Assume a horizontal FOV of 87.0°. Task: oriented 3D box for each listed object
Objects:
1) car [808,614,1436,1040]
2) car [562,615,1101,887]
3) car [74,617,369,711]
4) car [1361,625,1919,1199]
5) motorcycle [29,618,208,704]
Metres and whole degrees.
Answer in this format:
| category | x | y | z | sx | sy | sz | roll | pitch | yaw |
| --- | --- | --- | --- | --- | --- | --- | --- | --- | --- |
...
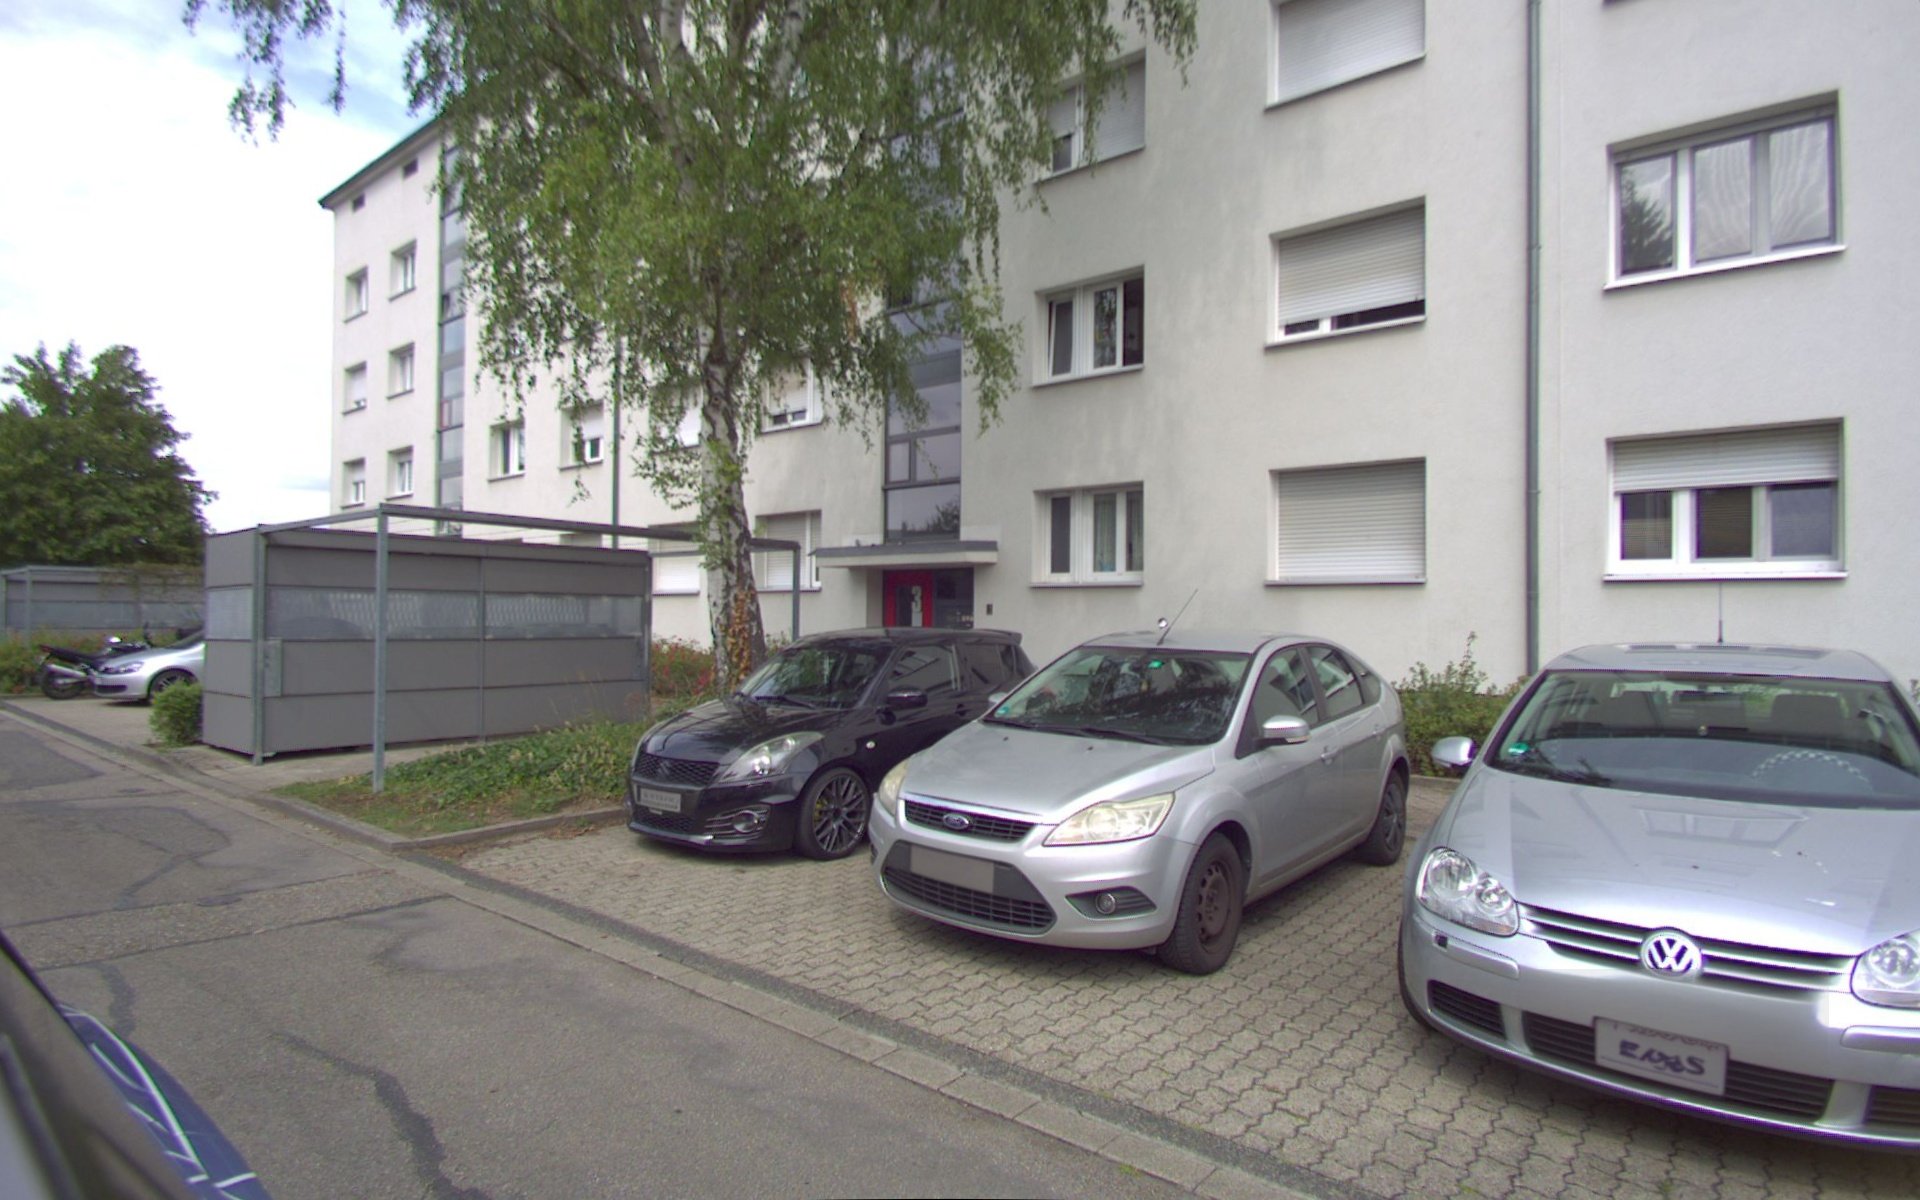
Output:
| category | x | y | z | sx | sy | sz | roll | pitch | yaw |
| --- | --- | --- | --- | --- | --- | --- | --- | --- | --- |
| car | 1.239 | 0.890 | 5.768 | 1.780 | 1.516 | 4.011 | -1 | -2 | 39 |
| car | -0.718 | 0.925 | 7.814 | 1.780 | 1.516 | 4.011 | -1 | -2 | 39 |
| car | -13.243 | 1.144 | 18.338 | 1.901 | 1.497 | 3.945 | -1 | -4 | 41 |
| car | 3.194 | 0.878 | 4.156 | 1.780 | 1.475 | 4.011 | -1 | -2 | 39 |
| motorcycle | -15.289 | 1.112 | 18.471 | 0.713 | 1.475 | 2.353 | -1 | -4 | 39 |
